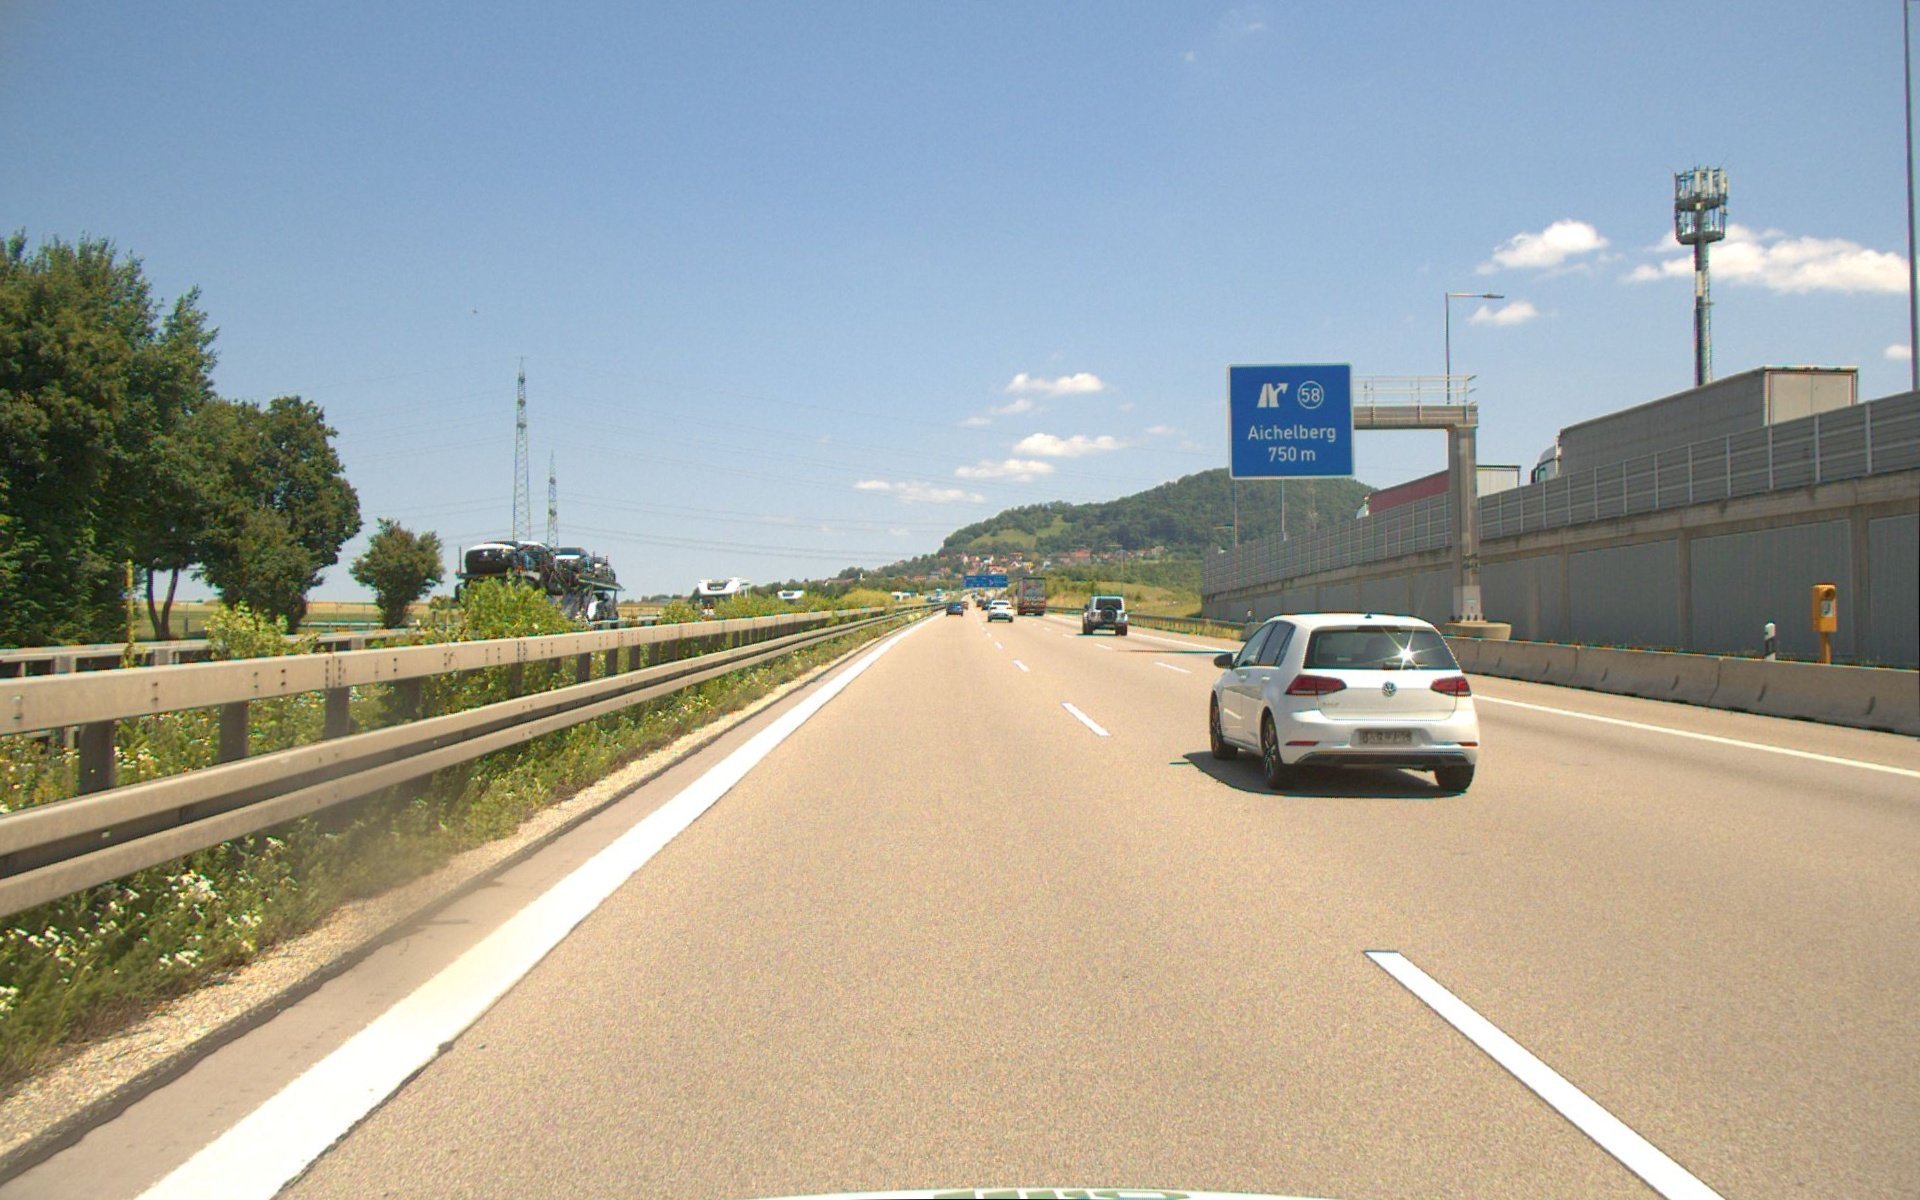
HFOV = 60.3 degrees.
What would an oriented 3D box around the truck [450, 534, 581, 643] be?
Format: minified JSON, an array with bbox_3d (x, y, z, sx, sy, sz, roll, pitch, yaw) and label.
[{"bbox_3d":[-17.076,-0.380,64.251,2.622,3.886,9.151,1,-1,-1],"label":"truck"}]

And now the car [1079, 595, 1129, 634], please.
[{"bbox_3d":[6.959,0.684,80.219,1.993,1.836,4.250,0,0,-1],"label":"car"}]

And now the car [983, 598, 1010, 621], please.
[{"bbox_3d":[2.699,0.714,123.149,1.875,1.608,5.230,1,-1,0],"label":"car"}]

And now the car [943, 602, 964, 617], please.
[{"bbox_3d":[-0.613,0.906,160.785,1.952,1.413,4.000,1,-1,1],"label":"car"}]

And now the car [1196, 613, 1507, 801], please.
[{"bbox_3d":[3.436,0.874,15.441,1.740,1.458,4.690,1,-1,0],"label":"car"}]

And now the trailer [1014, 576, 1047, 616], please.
[{"bbox_3d":[7.743,-0.402,183.925,2.670,4.228,11.802,1,-1,-2],"label":"trailer"}]

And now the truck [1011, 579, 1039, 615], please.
[{"bbox_3d":[7.480,-0.307,190.968,2.697,4.091,6.785,1,-1,-2],"label":"truck"}]

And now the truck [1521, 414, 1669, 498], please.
[{"bbox_3d":[21.823,-4.910,57.181,2.668,2.269,6.034,1,-1,-2],"label":"truck"}]

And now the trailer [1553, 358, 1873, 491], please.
[{"bbox_3d":[22.049,-5.008,49.961,2.664,2.263,14.522,1,-1,-2],"label":"trailer"}]

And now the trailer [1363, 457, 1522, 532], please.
[{"bbox_3d":[21.380,-4.603,74.436,2.664,2.263,14.015,1,-1,-2],"label":"trailer"}]

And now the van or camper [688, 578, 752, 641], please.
[{"bbox_3d":[-13.283,0.523,92.029,2.472,3.324,7.373,-2,0,-1],"label":"van or camper"}]

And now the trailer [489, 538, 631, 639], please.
[{"bbox_3d":[-17.159,-0.360,72.303,2.630,3.915,15.177,1,-1,-1],"label":"trailer"}]

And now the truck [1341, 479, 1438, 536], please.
[{"bbox_3d":[21.149,-4.516,81.857,2.653,2.243,7.284,1,-1,-2],"label":"truck"}]
